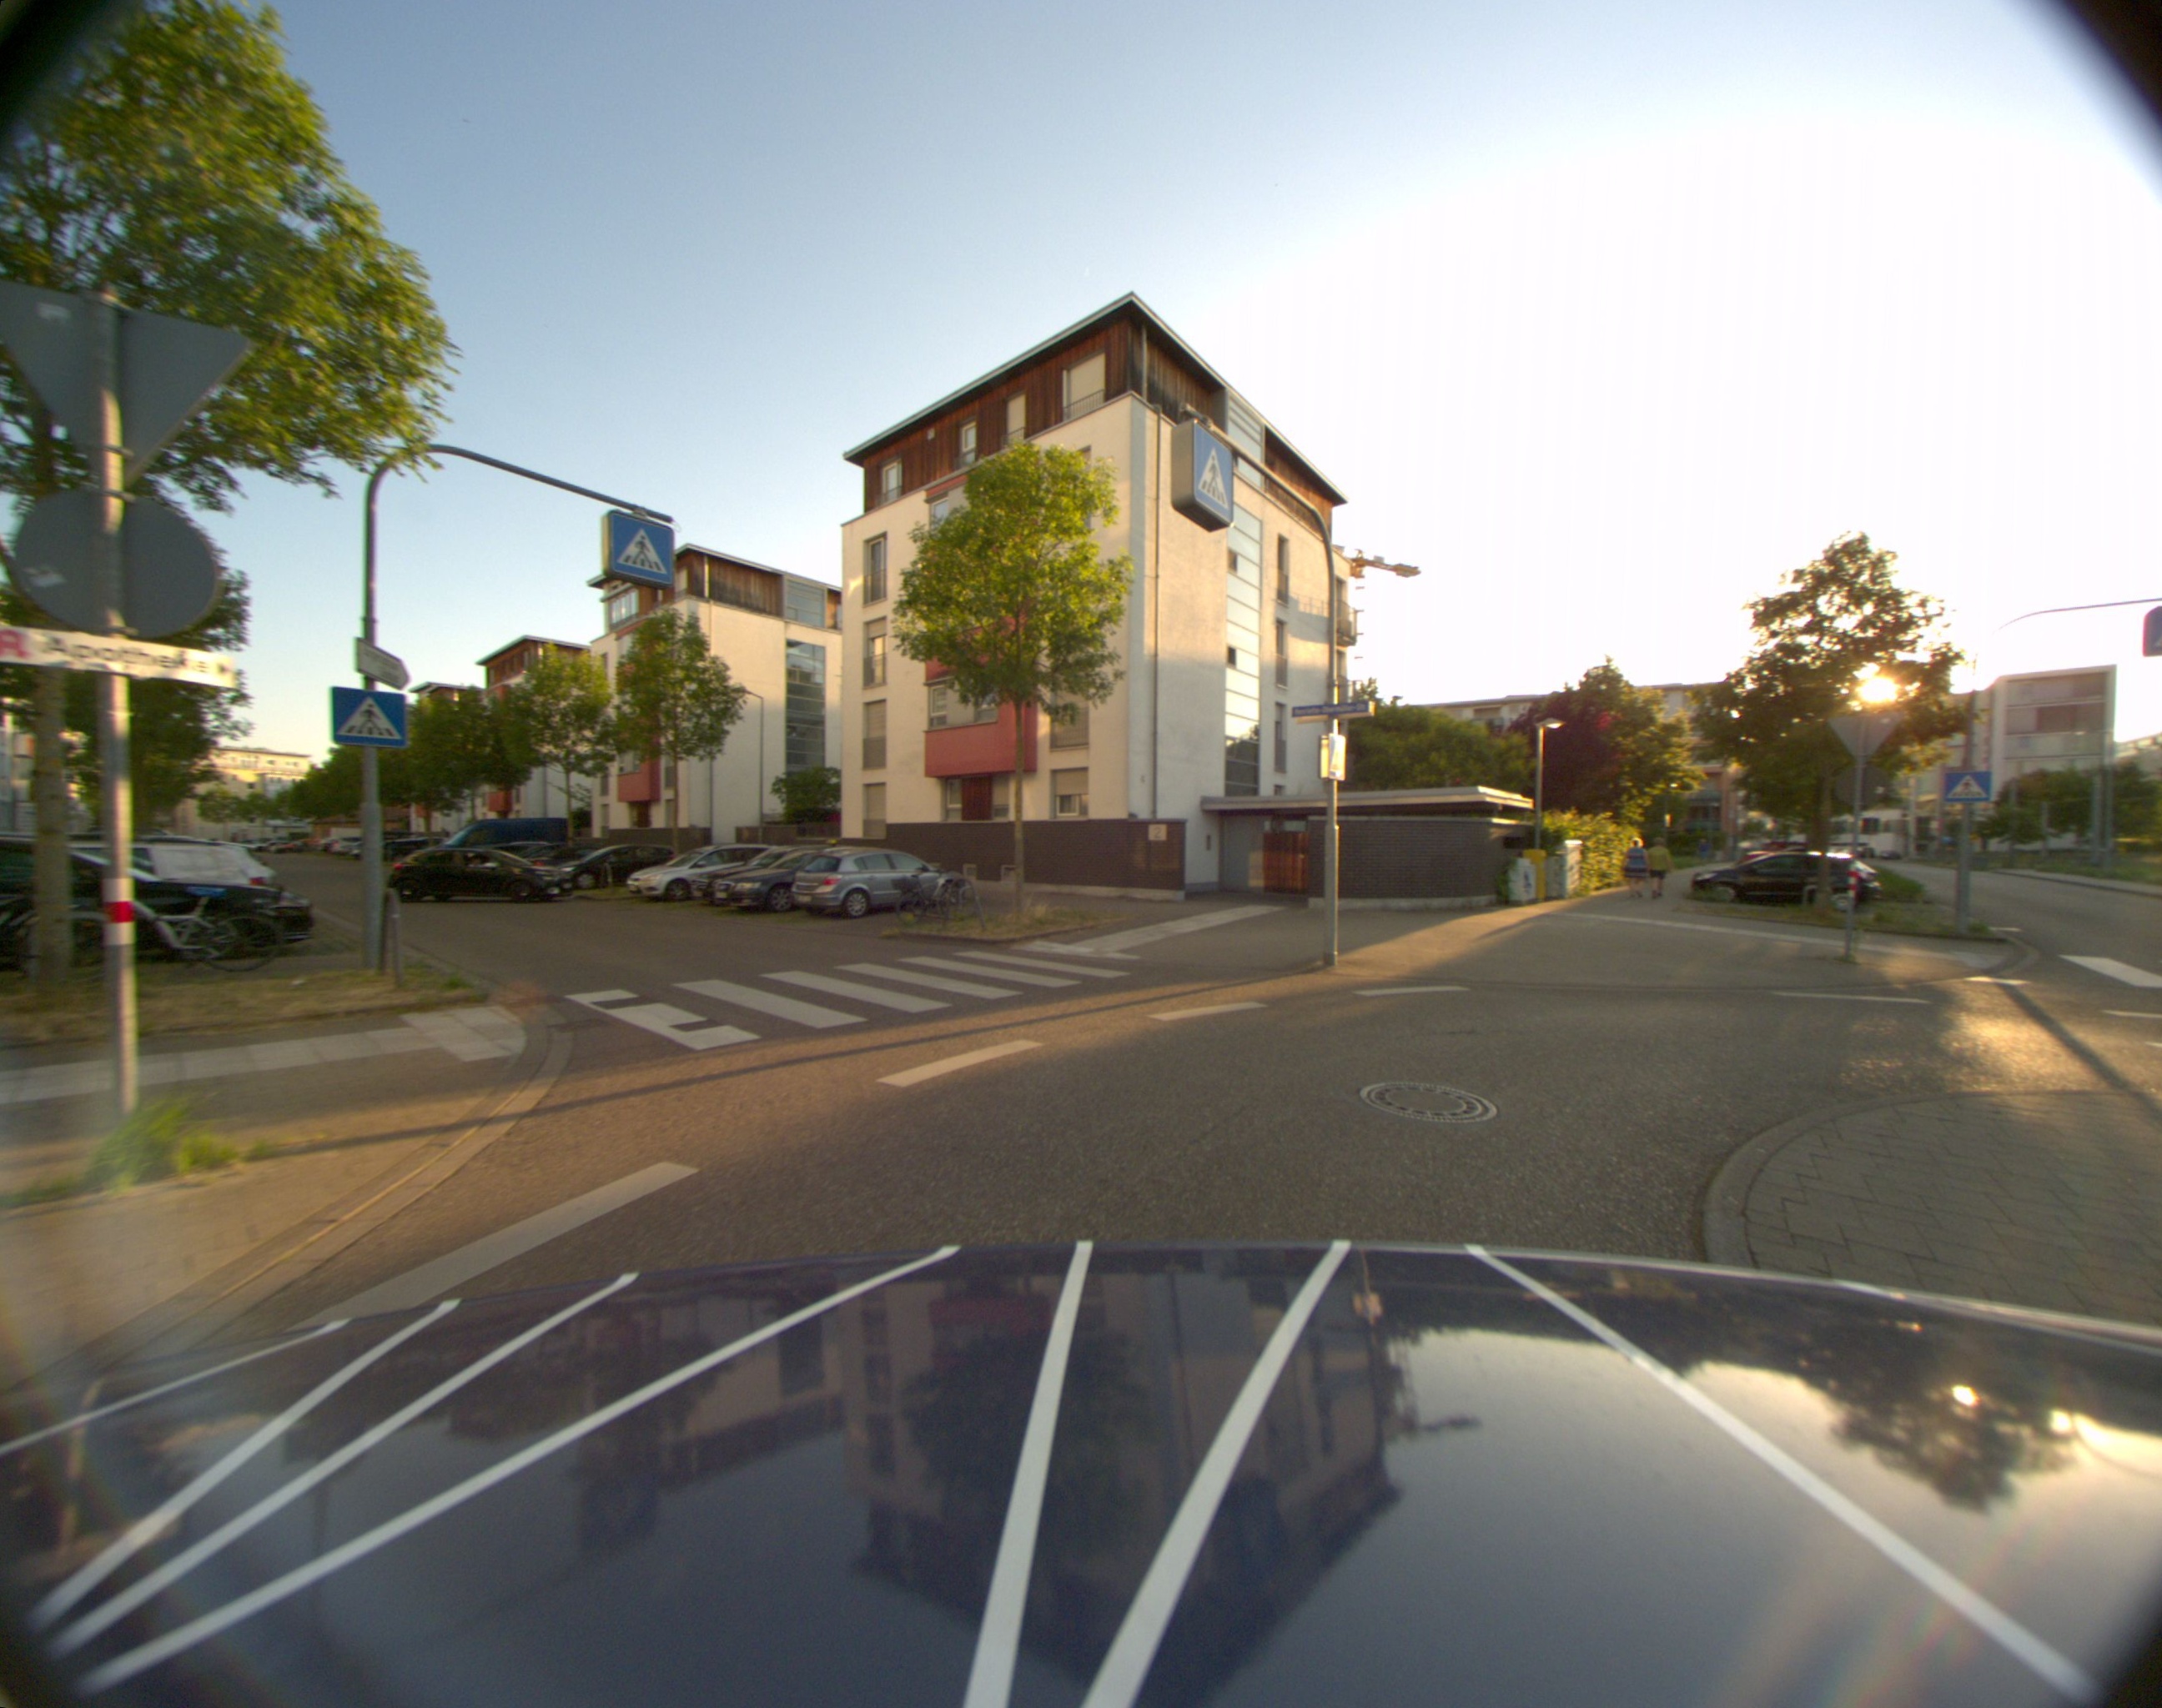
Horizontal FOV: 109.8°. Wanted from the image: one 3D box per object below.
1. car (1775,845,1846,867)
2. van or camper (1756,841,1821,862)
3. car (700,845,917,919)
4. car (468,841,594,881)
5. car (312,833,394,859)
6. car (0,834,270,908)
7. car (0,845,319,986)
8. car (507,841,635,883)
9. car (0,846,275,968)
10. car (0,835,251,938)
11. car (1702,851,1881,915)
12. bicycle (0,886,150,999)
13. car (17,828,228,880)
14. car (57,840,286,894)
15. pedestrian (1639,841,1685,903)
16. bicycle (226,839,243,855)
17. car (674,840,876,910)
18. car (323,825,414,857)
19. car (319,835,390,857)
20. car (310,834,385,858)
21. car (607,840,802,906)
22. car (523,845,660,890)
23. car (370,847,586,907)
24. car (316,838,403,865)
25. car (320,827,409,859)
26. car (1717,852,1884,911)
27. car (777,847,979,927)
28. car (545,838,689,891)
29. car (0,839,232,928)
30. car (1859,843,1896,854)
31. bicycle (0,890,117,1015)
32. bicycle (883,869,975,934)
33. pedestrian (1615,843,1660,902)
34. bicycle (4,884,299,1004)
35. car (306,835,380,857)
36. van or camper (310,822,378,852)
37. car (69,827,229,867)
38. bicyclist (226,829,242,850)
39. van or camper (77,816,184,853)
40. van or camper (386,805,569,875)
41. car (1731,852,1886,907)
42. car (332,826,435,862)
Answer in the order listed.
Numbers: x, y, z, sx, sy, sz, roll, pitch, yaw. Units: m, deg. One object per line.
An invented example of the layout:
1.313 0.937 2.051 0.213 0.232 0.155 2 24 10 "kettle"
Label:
58.121 0.123 60.616 3.868 1.685 1.706 1 1 37 "car"
59.229 -0.232 63.693 3.868 1.685 1.838 1 1 39 "van or camper"
-6.600 0.582 18.993 1.705 1.470 4.927 1 3 38 "car"
-24.094 0.357 33.413 1.719 1.615 4.114 1 -1 36 "car"
-55.549 -0.580 58.034 1.687 1.775 4.265 1 -1 39 "car"
-21.380 0.386 16.948 1.680 1.499 4.307 1 -1 37 "car"
-12.026 0.631 8.429 1.932 1.449 4.903 1 -1 42 "car"
-21.509 0.283 32.210 1.719 1.616 4.112 1 2 36 "car"
-14.032 0.658 10.158 1.737 1.499 4.425 1 2 43 "car"
-16.107 0.468 11.740 1.737 1.485 4.307 1 -1 39 "car"
19.186 0.717 20.696 3.400 1.513 1.694 2 2 42 "car"
-10.417 0.831 7.148 0.472 1.040 2.040 1 -1 36 "bicycle"
-30.754 0.052 24.517 1.661 1.500 4.114 1 -1 36 "car"
-25.126 0.390 21.123 1.719 1.336 3.930 1 -1 36 "car"
16.027 0.478 20.977 0.624 1.658 0.743 0 3 2 "pedestrian"
-66.041 -0.528 59.282 1.776 1.260 0.773 1 1 38 "bicycle"
-8.220 0.470 20.779 1.705 1.546 4.798 1 3 44 "car"
-48.328 -0.838 51.602 1.687 1.919 4.265 1 -1 39 "car"
-63.708 -0.662 66.685 1.687 1.775 4.265 1 -1 41 "car"
-60.772 -0.630 62.983 1.687 1.775 4.265 1 -1 41 "car"
-10.804 0.461 22.199 1.753 1.576 4.770 1 3 36 "car"
-18.304 0.431 28.544 1.719 1.507 3.928 1 2 36 "car"
-16.199 0.634 20.668 4.181 1.454 1.776 2 -1 -16 "car"
-51.420 -0.139 54.201 1.687 1.775 4.265 1 -1 39 "car"
-49.821 -0.719 52.882 1.687 1.991 4.265 1 -1 39 "car"
20.849 0.736 22.192 3.400 1.492 1.598 2 2 42 "car"
-4.512 0.646 17.500 1.675 1.450 4.302 1 3 38 "car"
-16.205 0.305 26.726 1.719 1.701 3.928 1 2 36 "car"
-18.206 0.486 13.254 4.307 1.449 1.737 3 -1 -42 "car"
126.964 -0.899 121.151 3.868 1.604 1.706 1 1 40 "car"
-9.557 0.833 6.355 0.565 1.035 1.798 1 -1 36 "bicycle"
-2.977 0.898 15.036 0.565 1.061 1.825 1 4 37 "bicycle"
15.350 0.493 20.975 0.656 1.591 0.712 0 3 2 "pedestrian"
-9.338 0.847 7.732 0.472 1.065 1.845 1 -1 36 "bicycle"
-62.202 -0.647 64.089 1.687 1.629 4.265 1 -1 41 "car"
-67.946 -1.572 70.096 1.755 2.519 4.265 1 -1 41 "van or camper"
-40.163 -0.258 32.919 1.687 1.527 4.265 1 -1 41 "car"
-66.140 -1.124 59.346 0.661 1.618 0.769 1 2 38 "bicyclist"
-62.251 -1.227 49.879 1.687 2.197 4.265 1 -1 39 "van or camper"
-28.538 -0.694 36.226 2.435 3.070 6.330 1 2 36 "van or camper"
22.827 0.743 24.005 3.400 1.492 1.598 2 2 42 "car"
-41.247 -0.560 45.021 1.687 1.919 4.265 1 -1 39 "car"
